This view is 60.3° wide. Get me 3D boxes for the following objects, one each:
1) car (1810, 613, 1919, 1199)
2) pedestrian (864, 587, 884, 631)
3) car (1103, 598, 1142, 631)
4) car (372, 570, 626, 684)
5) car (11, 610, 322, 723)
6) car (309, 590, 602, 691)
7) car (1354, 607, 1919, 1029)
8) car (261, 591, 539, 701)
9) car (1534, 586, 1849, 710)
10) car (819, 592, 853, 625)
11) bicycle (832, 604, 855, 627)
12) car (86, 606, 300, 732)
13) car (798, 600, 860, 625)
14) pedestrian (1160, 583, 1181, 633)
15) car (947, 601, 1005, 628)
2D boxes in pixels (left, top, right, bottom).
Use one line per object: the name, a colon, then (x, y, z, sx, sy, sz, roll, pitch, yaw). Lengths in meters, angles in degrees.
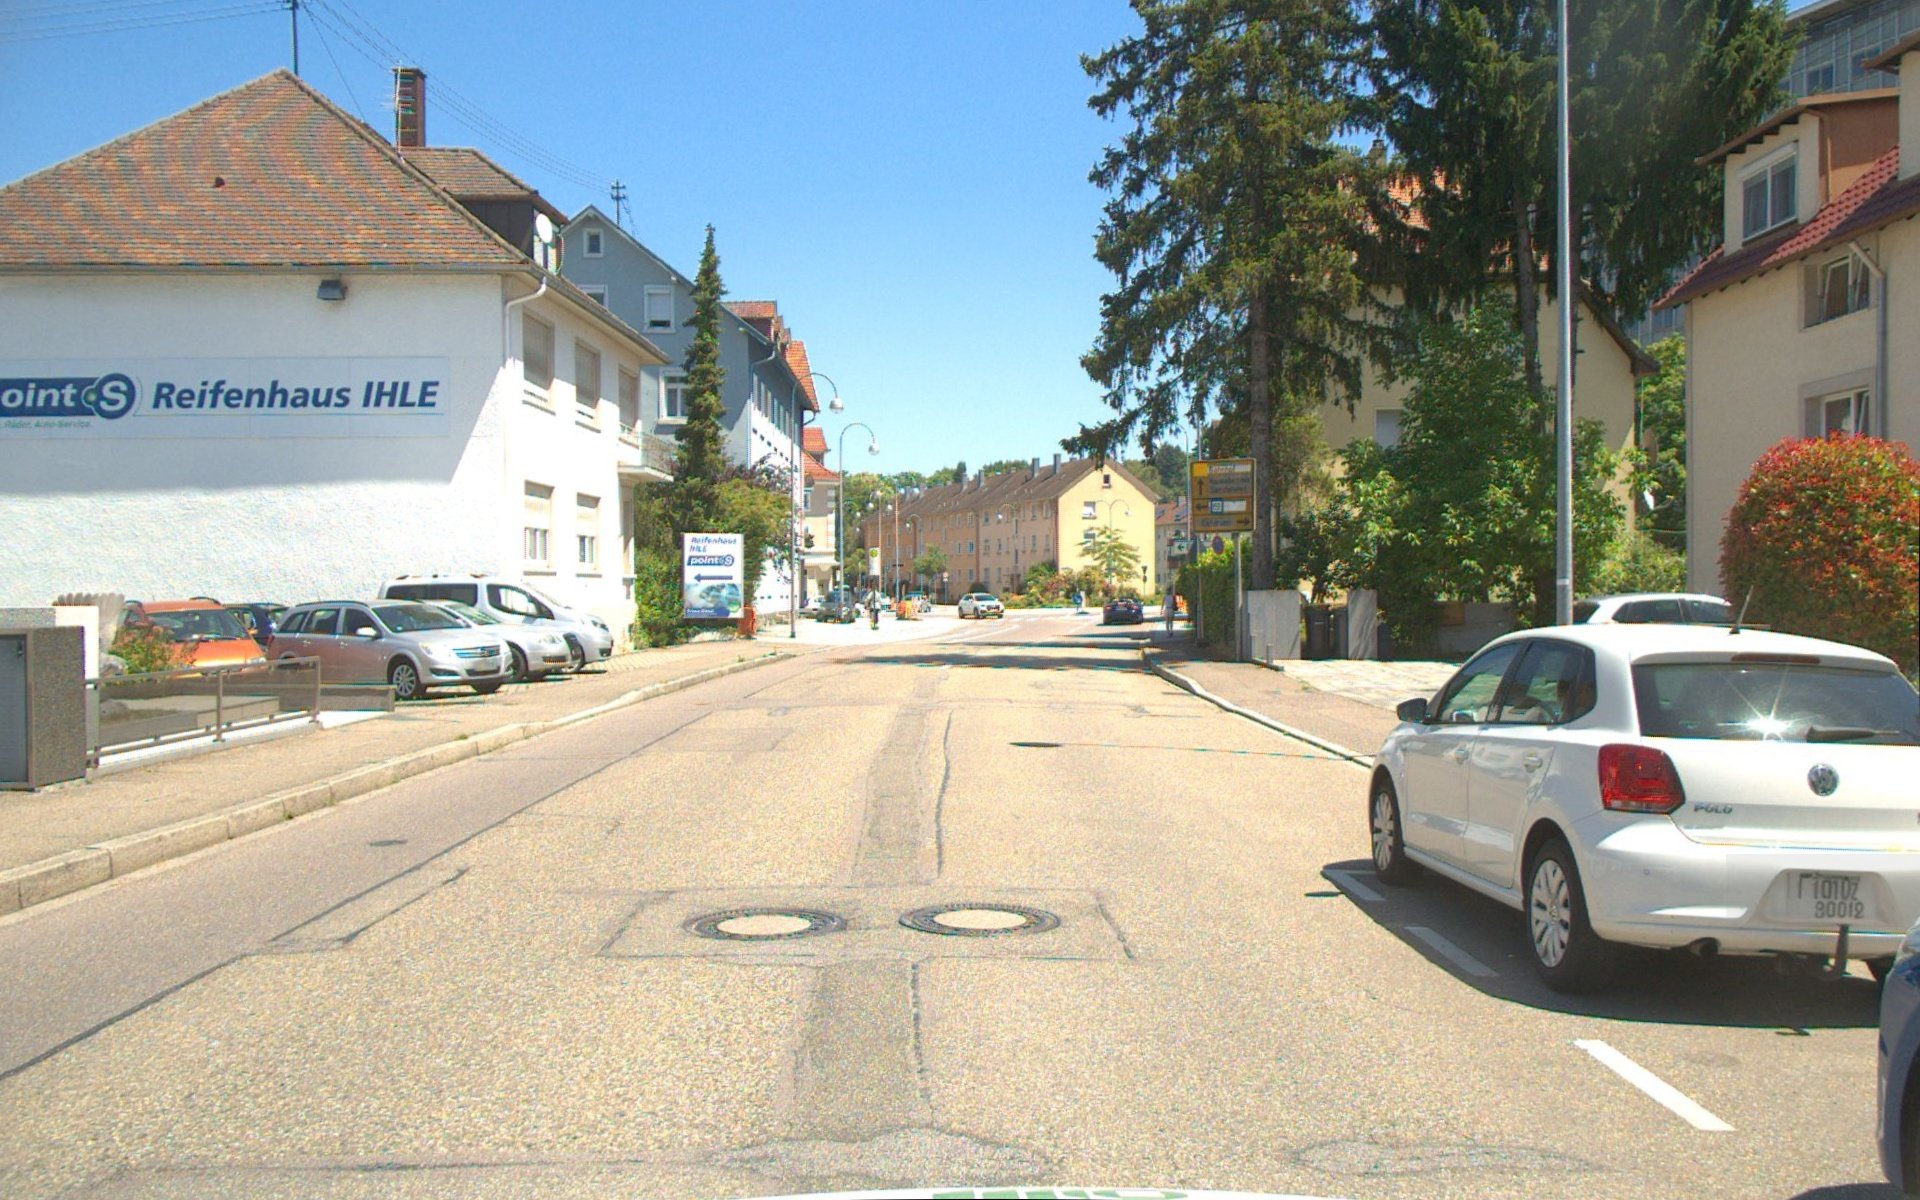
car: (3.058, 0.779, 2.102, 1.650, 1.479, 4.361, 1, 0, -1)
pedestrian: (-3.771, 0.389, 72.462, 0.740, 1.880, 0.772, 3, -1, -1)
car: (7.925, 0.727, 80.806, 1.831, 1.557, 4.509, 0, -1, 5)
car: (-8.574, 0.477, 31.083, 4.267, 1.910, 1.848, -2, 0, -6)
car: (-13.761, 1.132, 28.872, 4.379, 1.521, 1.977, -5, 0, 3)
car: (-8.662, 0.669, 28.634, 4.378, 1.521, 1.977, -2, 0, 3)
car: (3.180, 0.805, 7.869, 1.650, 1.480, 3.739, 1, 0, -1)
car: (-8.682, 0.714, 25.550, 4.185, 1.521, 1.871, -2, 0, 33)
car: (9.844, 0.643, 22.492, 3.542, 1.557, 1.778, 1, -1, 6)
car: (-6.073, 0.428, 81.272, 1.546, 1.561, 3.773, 0, -1, -3)
bicycle: (-5.431, 0.728, 77.327, 0.485, 0.994, 1.974, 4, 0, 12)
car: (-11.679, 0.999, 25.048, 1.837, 1.673, 4.144, -2, 0, -41)
car: (-8.690, 0.828, 109.672, 4.034, 1.578, 1.785, 1, 0, -5)
pedestrian: (7.149, 0.289, 56.206, 0.610, 1.673, 0.772, -1, -1, 4)
car: (0.975, 0.921, 102.816, 1.802, 1.557, 3.908, 1, -2, -31)
